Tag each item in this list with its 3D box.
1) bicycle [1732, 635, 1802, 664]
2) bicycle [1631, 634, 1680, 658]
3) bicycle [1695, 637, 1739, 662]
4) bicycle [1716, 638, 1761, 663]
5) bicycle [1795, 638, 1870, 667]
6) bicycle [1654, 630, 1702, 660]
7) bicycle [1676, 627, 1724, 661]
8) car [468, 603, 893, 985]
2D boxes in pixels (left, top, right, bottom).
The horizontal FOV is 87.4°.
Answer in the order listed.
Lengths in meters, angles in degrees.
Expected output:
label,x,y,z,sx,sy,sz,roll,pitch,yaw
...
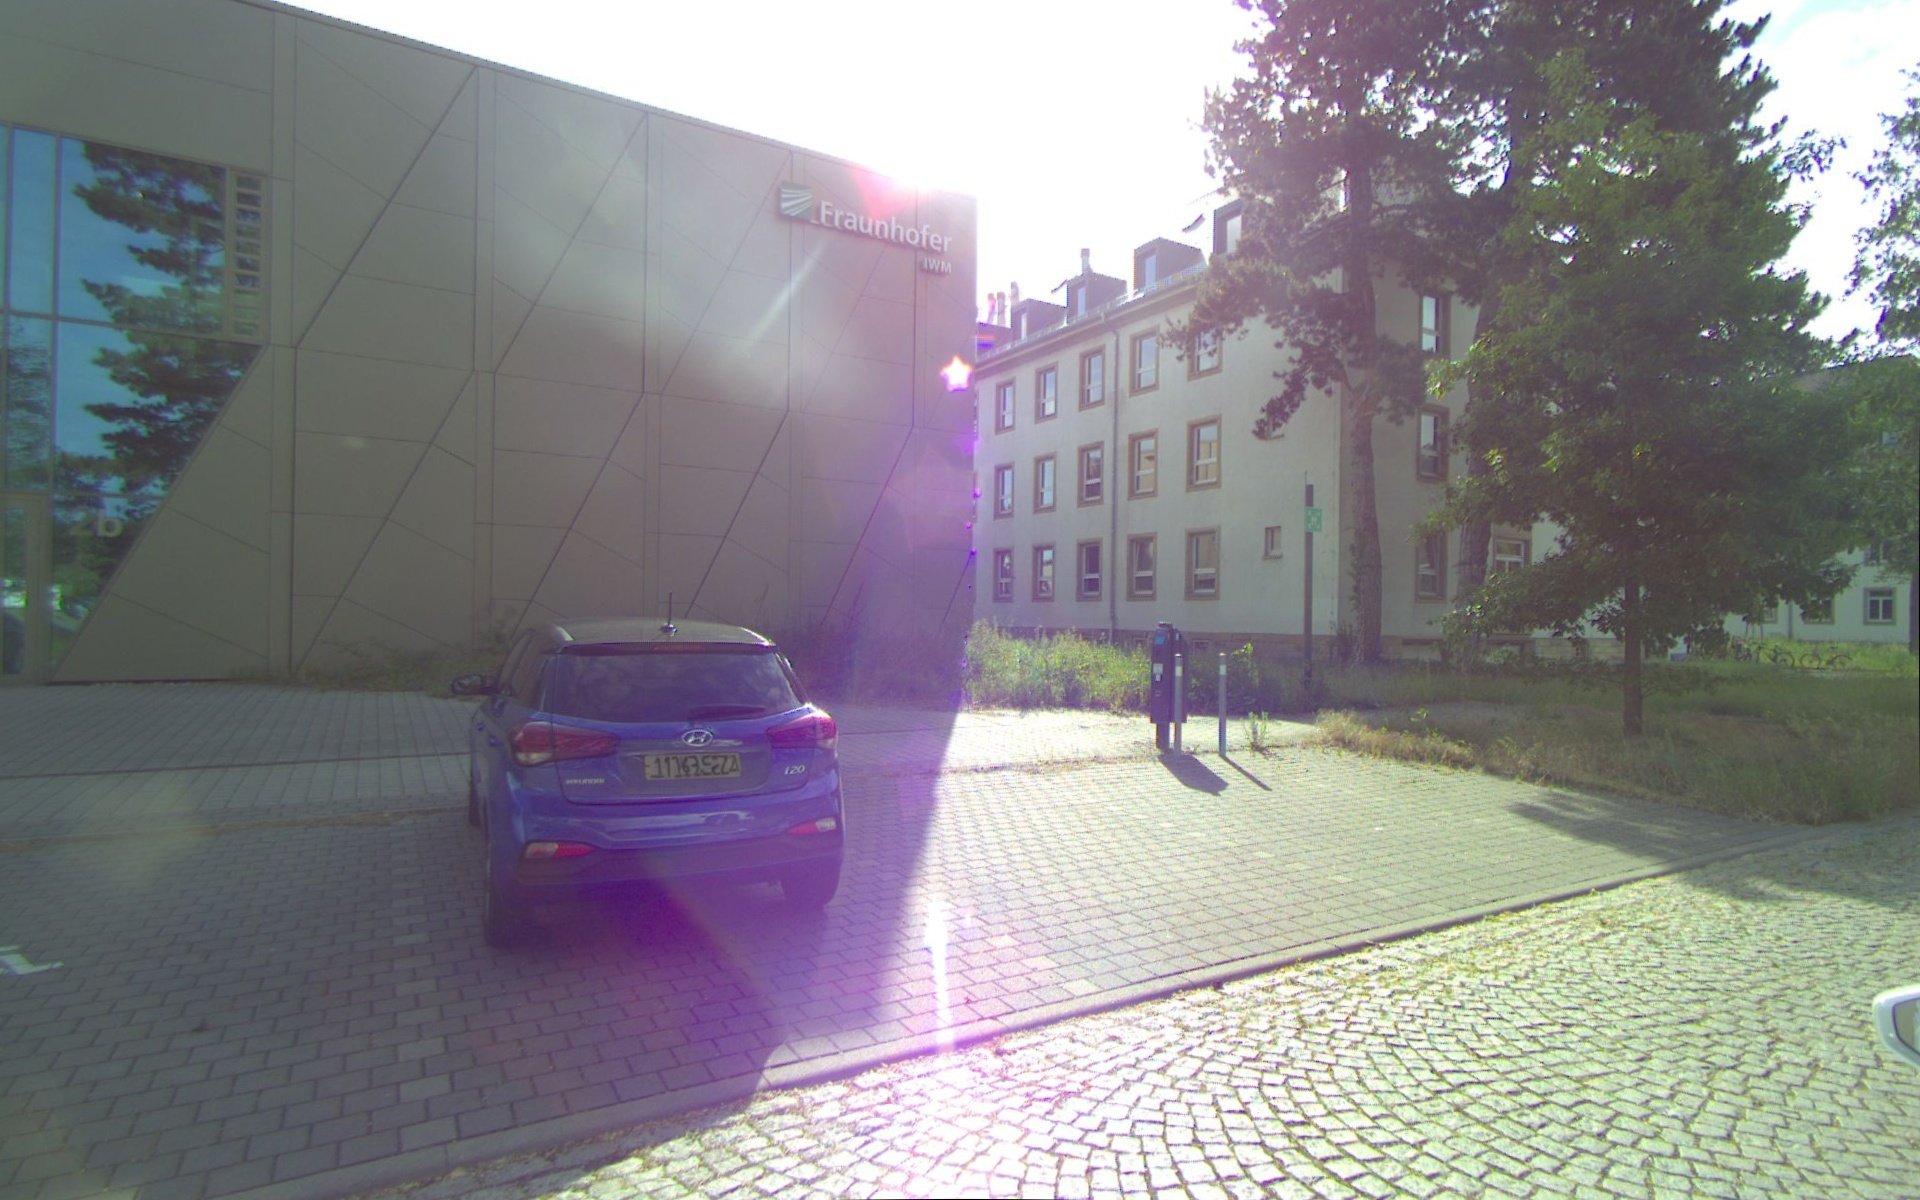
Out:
label,x,y,z,sx,sy,sz,roll,pitch,yaw
bicycle,33.140,2.027,41.275,0.820,1.123,2.104,1,-1,-33
bicycle,31.862,2.120,45.982,2.524,1.061,0.896,1,-1,-31
bicycle,33.050,2.155,43.829,2.100,1.061,0.822,1,-1,-31
bicycle,33.474,2.168,43.174,2.100,1.061,0.822,1,-1,-31
bicycle,34.273,2.058,39.486,0.820,1.061,2.104,1,-1,-33
bicycle,32.310,2.015,45.203,2.524,1.298,0.822,1,-1,-31
bicycle,32.949,1.940,44.690,2.524,1.456,0.822,1,-1,-31
car,-1.999,0.823,6.217,1.699,1.483,3.819,2,0,-29
